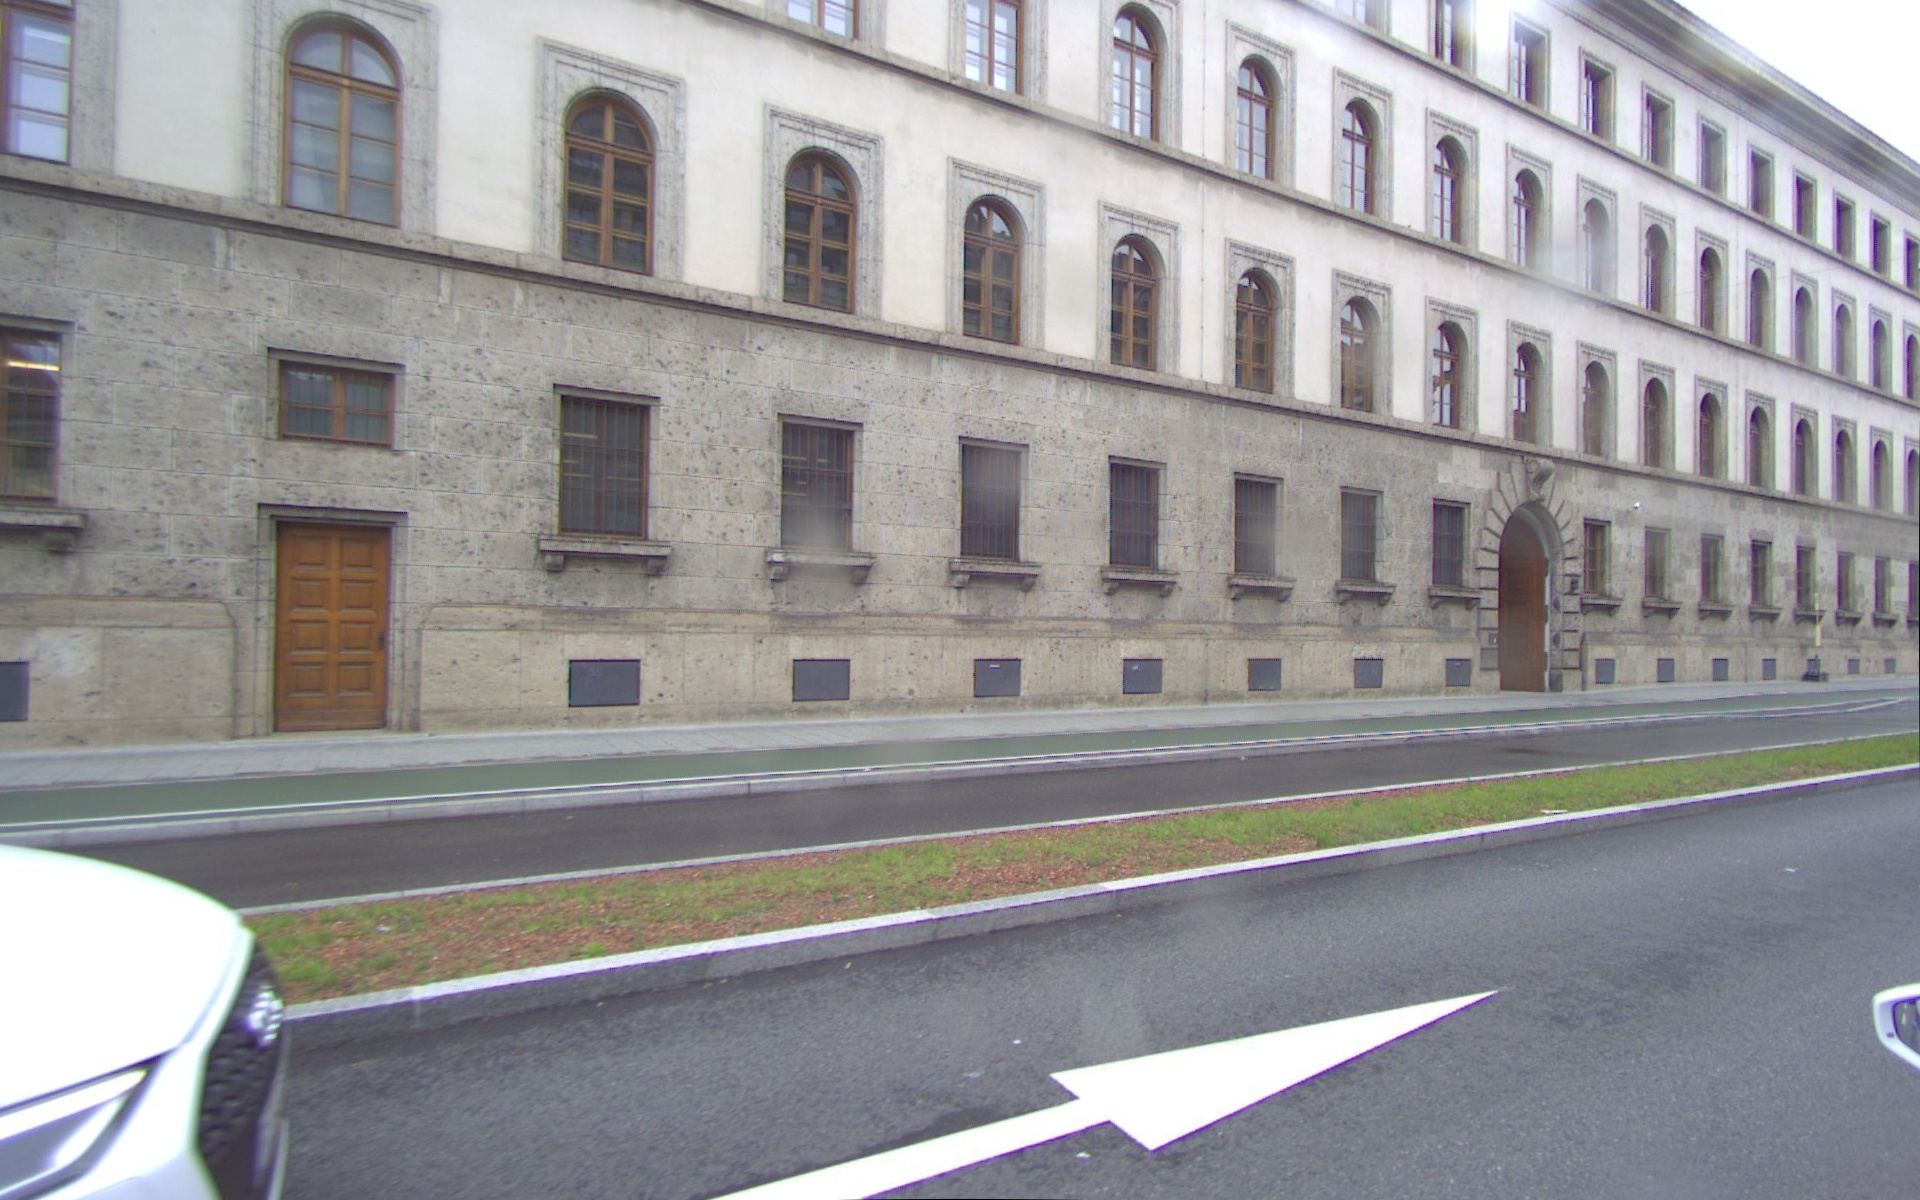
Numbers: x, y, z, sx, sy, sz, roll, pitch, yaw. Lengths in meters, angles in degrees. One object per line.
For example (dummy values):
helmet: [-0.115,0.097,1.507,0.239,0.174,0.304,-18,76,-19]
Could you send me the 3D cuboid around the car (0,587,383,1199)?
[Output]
car: [-3.151,0.665,1.004,4.399,1.443,1.805,2,0,-30]
